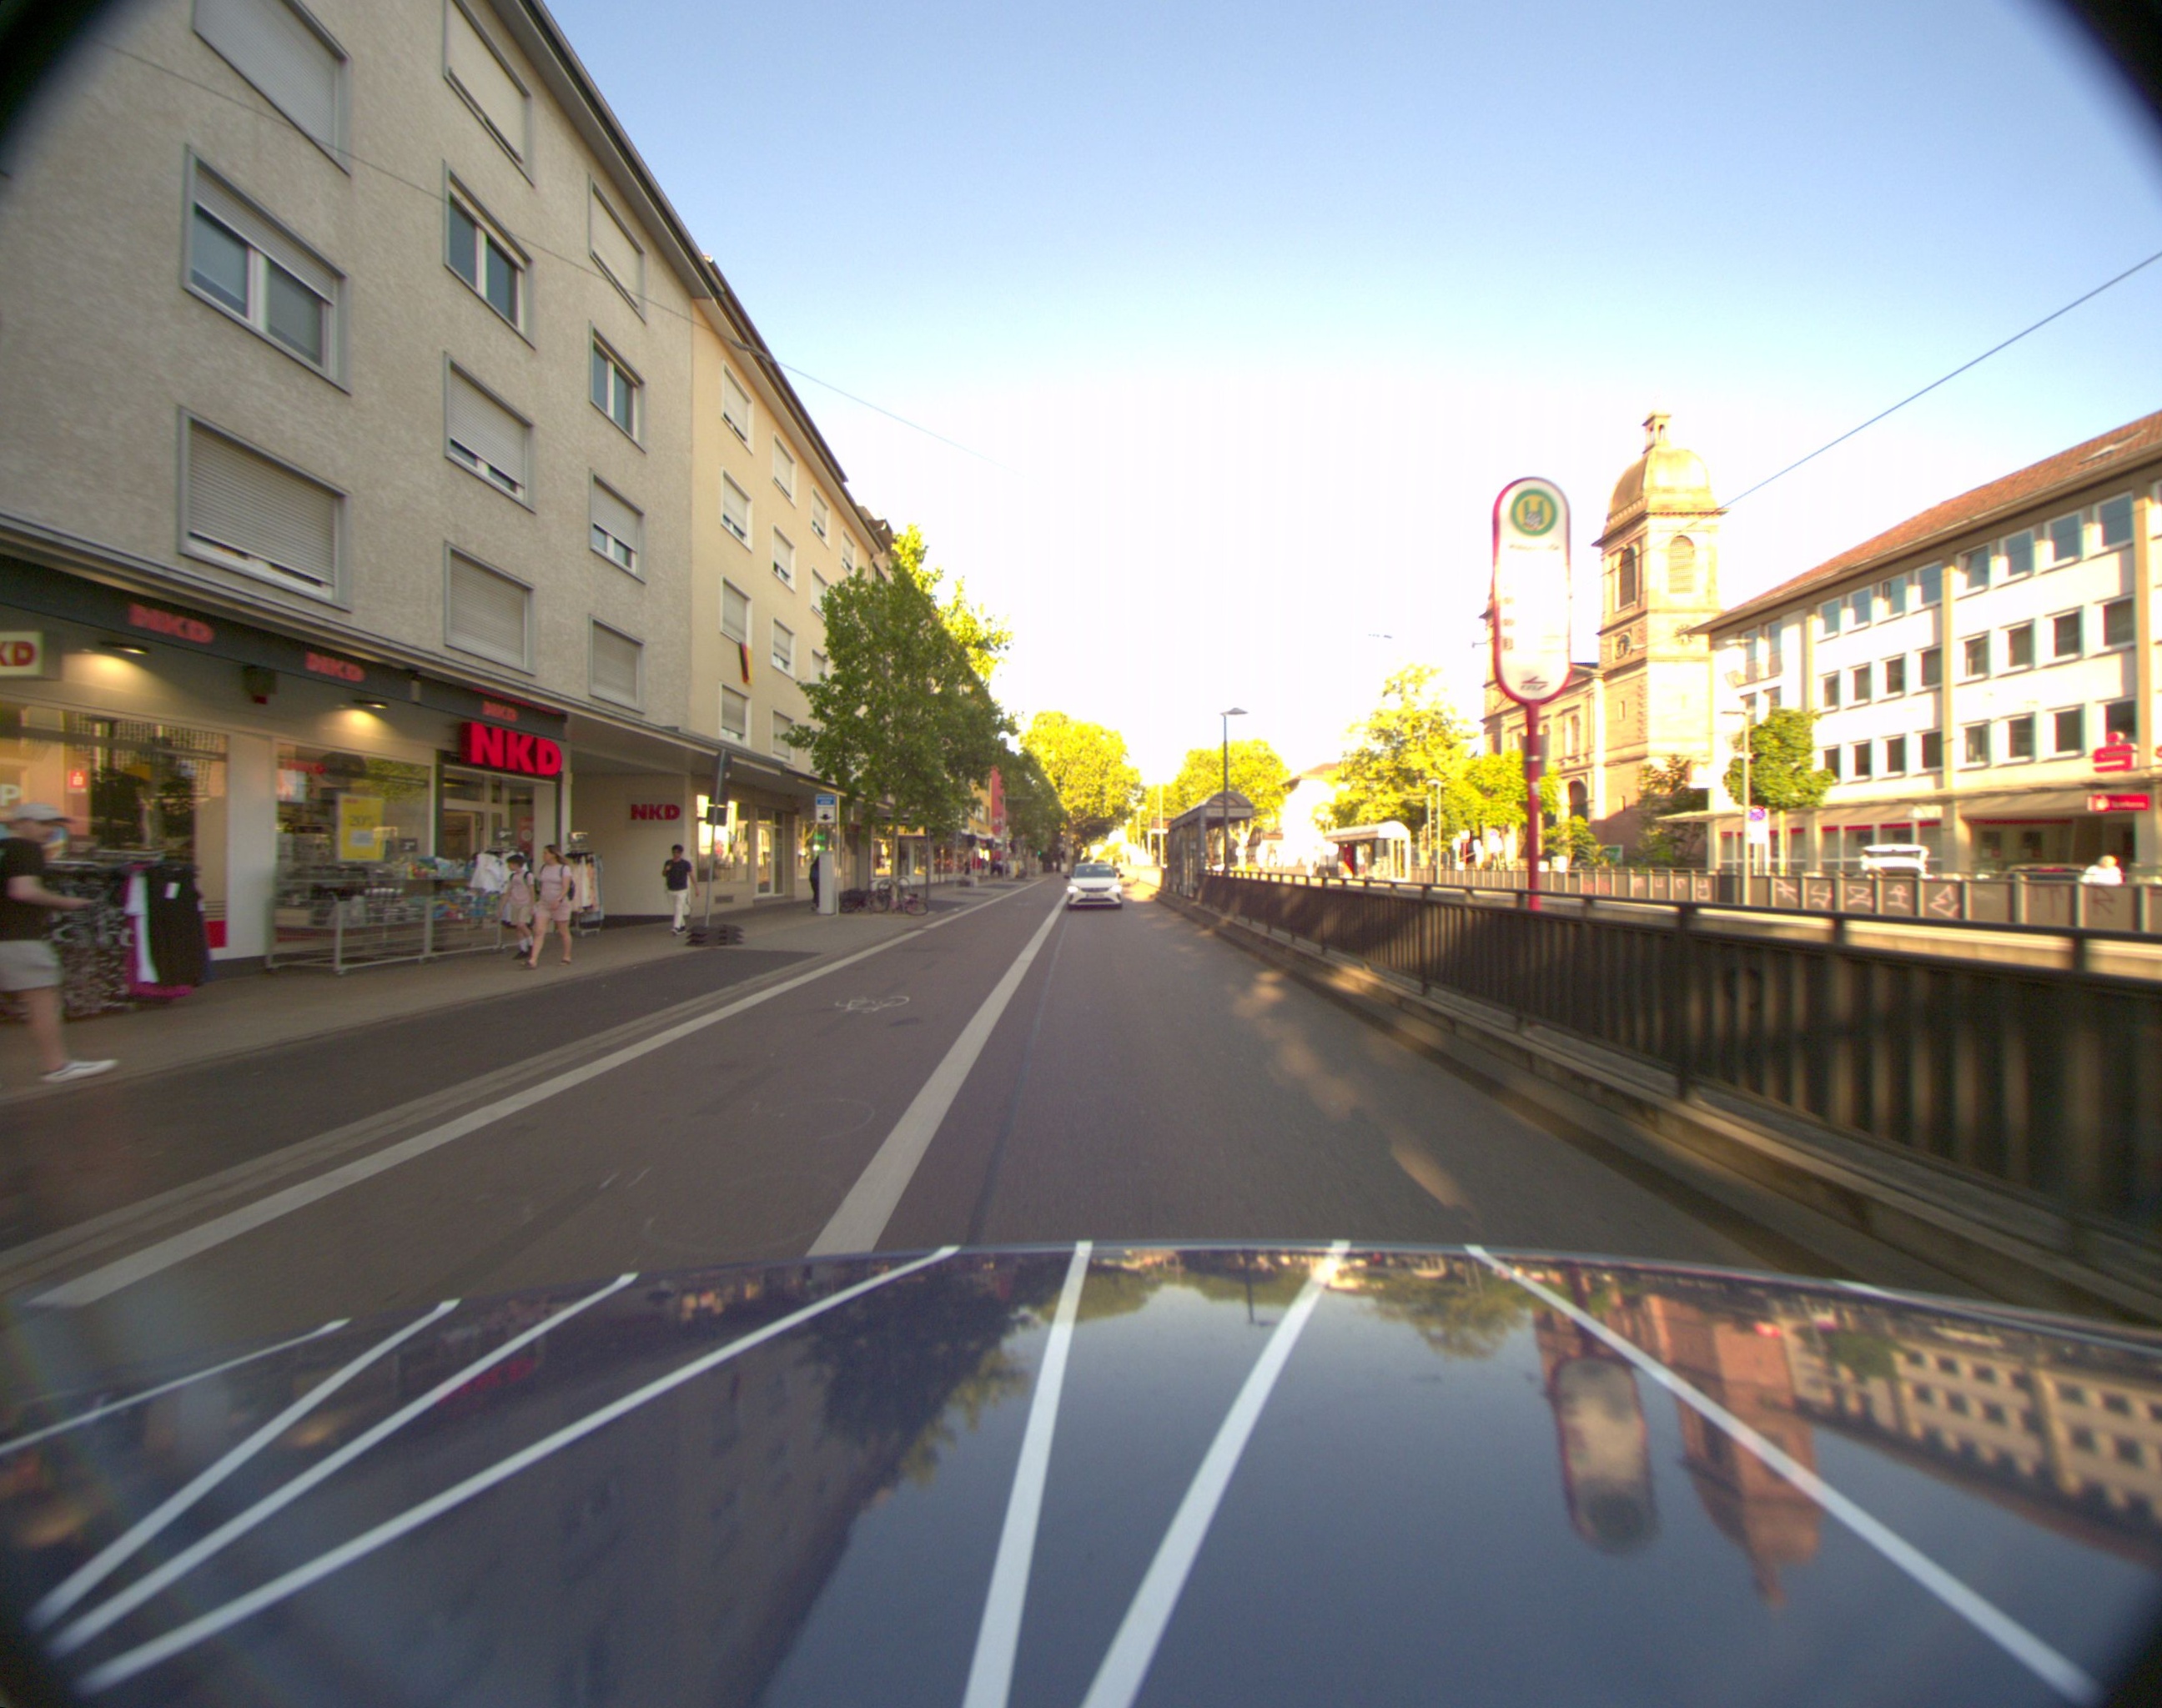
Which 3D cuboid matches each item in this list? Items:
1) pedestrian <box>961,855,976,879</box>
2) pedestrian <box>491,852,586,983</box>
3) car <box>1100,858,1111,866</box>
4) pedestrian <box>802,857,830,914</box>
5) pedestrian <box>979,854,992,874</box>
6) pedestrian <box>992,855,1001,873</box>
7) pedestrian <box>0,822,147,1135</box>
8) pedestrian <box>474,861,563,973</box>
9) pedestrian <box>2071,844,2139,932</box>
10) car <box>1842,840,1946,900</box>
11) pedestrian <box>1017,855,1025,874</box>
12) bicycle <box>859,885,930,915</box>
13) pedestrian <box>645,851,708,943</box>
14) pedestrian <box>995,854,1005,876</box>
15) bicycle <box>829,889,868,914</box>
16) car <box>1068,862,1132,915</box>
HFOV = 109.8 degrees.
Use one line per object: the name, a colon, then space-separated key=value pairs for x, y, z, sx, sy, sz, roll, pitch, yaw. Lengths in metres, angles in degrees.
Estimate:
pedestrian: x=-7.932 y=0.921 z=53.466 sx=0.851 sy=1.645 sz=0.915 roll=-2 pitch=1 yaw=0
pedestrian: x=-7.059 y=0.797 z=9.927 sx=0.547 sy=1.619 sz=0.896 roll=1 pitch=0 yaw=0
car: x=4.487 y=1.489 z=140.223 sx=1.719 sy=1.390 sz=3.998 roll=-2 pitch=1 yaw=-4
pedestrian: x=-7.325 y=0.857 z=20.984 sx=0.490 sy=1.558 sz=0.648 roll=2 pitch=0 yaw=2
pedestrian: x=-7.710 y=0.802 z=61.425 sx=0.851 sy=1.645 sz=0.915 roll=-2 pitch=1 yaw=0
pedestrian: x=-7.525 y=0.882 z=67.635 sx=0.634 sy=1.645 sz=0.651 roll=-2 pitch=1 yaw=0
pedestrian: x=-6.558 y=0.704 z=4.523 sx=0.775 sy=1.789 sz=0.931 roll=3 pitch=0 yaw=2
pedestrian: x=-7.890 y=0.851 z=10.695 sx=0.542 sy=1.493 sz=0.896 roll=1 pitch=0 yaw=0
pedestrian: x=21.612 y=0.706 z=16.054 sx=0.726 sy=1.777 sz=0.766 roll=-3 pitch=1 yaw=-43
car: x=23.113 y=0.421 z=21.738 sx=1.739 sy=1.477 sz=4.008 roll=-2 pitch=1 yaw=43
pedestrian: x=-5.509 y=0.961 z=69.912 sx=0.634 sy=1.645 sz=0.651 roll=-2 pitch=1 yaw=0
bicycle: x=-5.061 y=1.238 z=20.618 sx=1.763 sy=0.773 sz=0.702 roll=1 pitch=0 yaw=-22
pedestrian: x=-7.624 y=0.783 z=14.373 sx=0.569 sy=1.665 sz=1.070 roll=2 pitch=0 yaw=1
pedestrian: x=-6.507 y=0.878 z=61.066 sx=0.693 sy=1.665 sz=0.659 roll=2 pitch=0 yaw=1
bicycle: x=-6.332 y=1.275 z=20.646 sx=0.840 sy=0.569 sz=1.757 roll=1 pitch=-1 yaw=-22
car: x=0.566 y=1.022 z=23.968 sx=1.826 sy=1.433 sz=3.828 roll=-1 pitch=0 yaw=1
